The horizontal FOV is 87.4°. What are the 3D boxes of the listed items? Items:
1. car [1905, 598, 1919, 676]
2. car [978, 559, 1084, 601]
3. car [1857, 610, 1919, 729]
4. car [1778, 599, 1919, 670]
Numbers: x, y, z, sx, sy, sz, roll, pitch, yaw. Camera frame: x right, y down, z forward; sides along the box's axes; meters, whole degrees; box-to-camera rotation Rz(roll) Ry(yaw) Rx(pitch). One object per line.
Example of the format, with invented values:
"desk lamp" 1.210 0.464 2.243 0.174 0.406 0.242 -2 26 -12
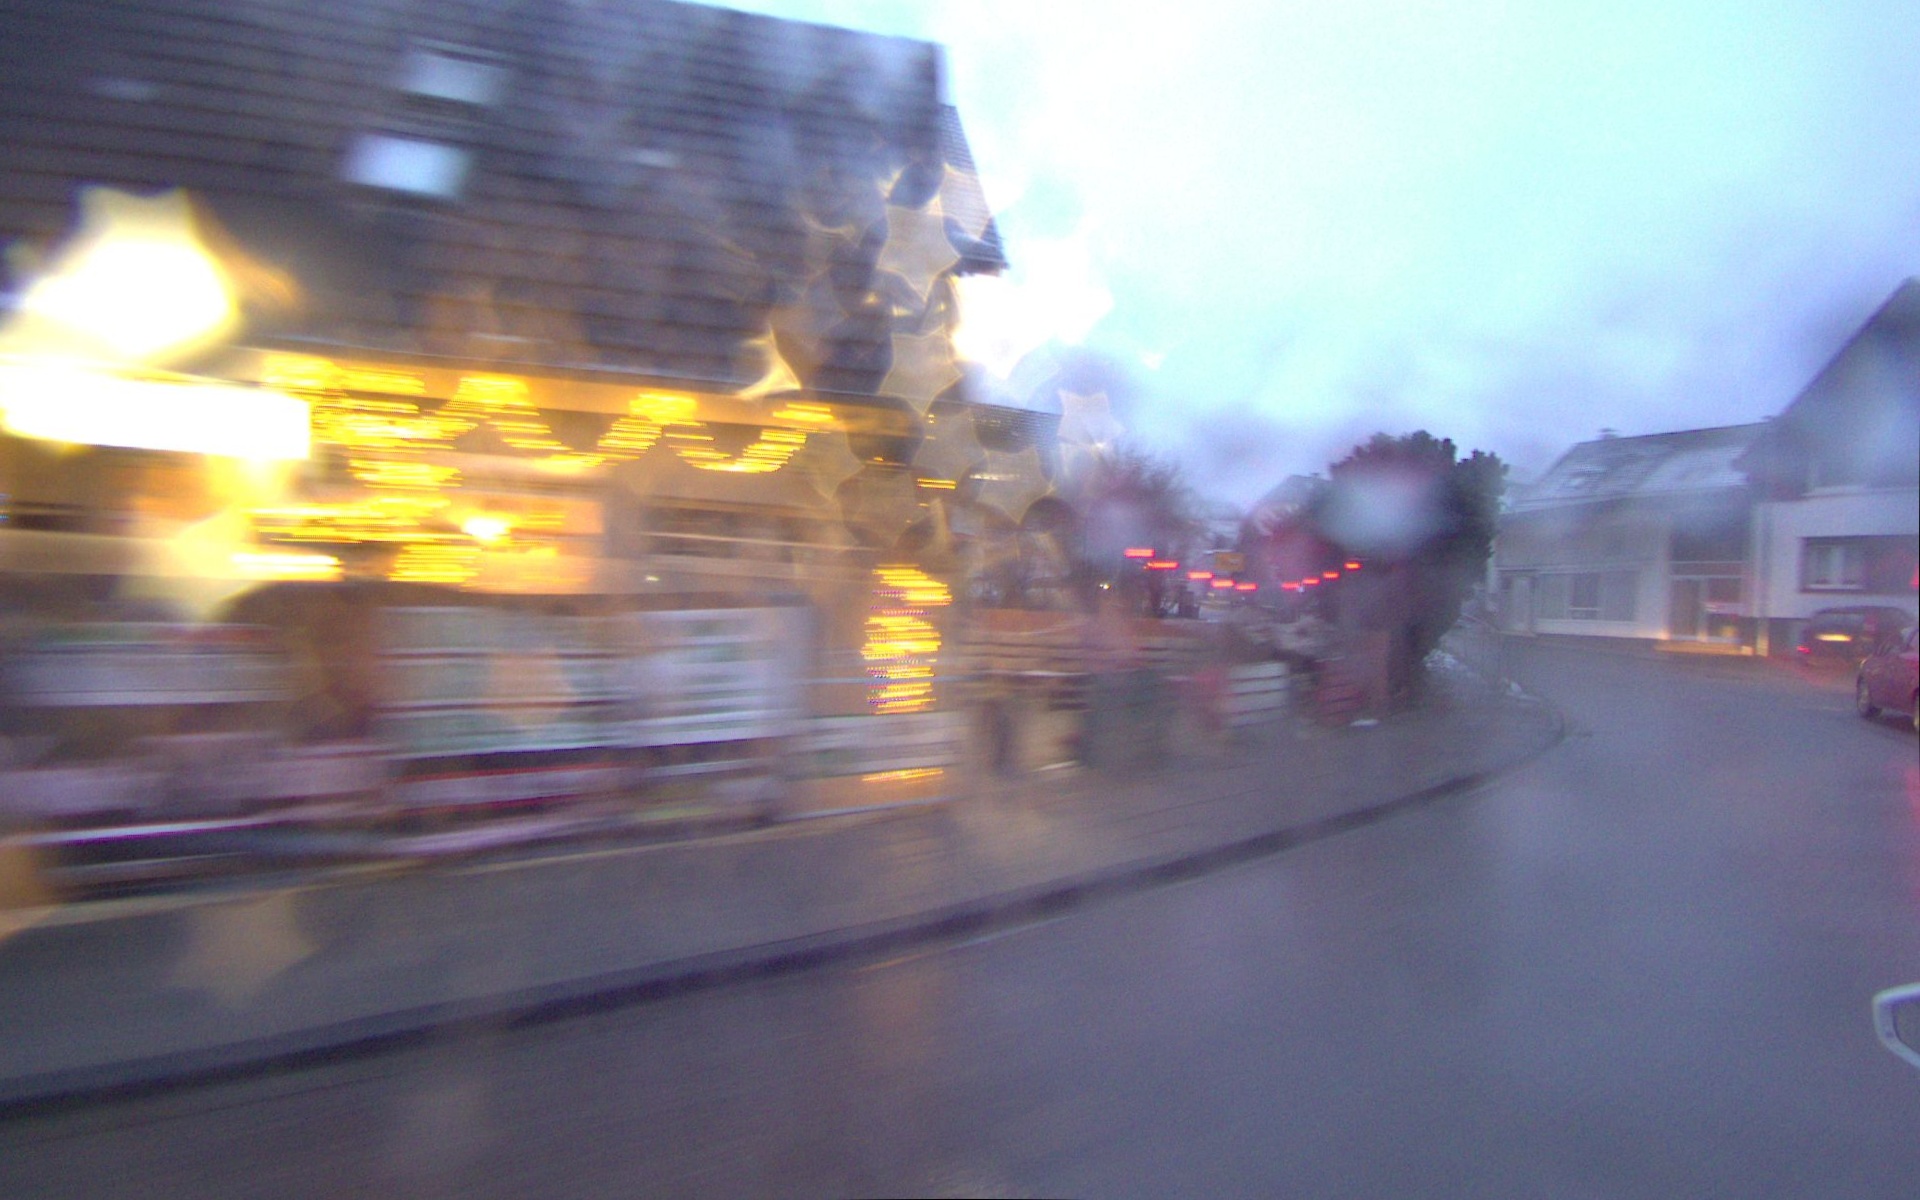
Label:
"car" 23.249 0.696 22.406 4.420 1.683 1.842 -3 0 -29
"car" 2.903 -0.819 41.193 3.937 1.482 1.813 3 1 -18
"car" 13.476 0.913 13.430 1.524 1.485 3.689 3 1 32
"car" 22.284 0.811 24.783 3.843 1.469 1.876 -3 0 -27
